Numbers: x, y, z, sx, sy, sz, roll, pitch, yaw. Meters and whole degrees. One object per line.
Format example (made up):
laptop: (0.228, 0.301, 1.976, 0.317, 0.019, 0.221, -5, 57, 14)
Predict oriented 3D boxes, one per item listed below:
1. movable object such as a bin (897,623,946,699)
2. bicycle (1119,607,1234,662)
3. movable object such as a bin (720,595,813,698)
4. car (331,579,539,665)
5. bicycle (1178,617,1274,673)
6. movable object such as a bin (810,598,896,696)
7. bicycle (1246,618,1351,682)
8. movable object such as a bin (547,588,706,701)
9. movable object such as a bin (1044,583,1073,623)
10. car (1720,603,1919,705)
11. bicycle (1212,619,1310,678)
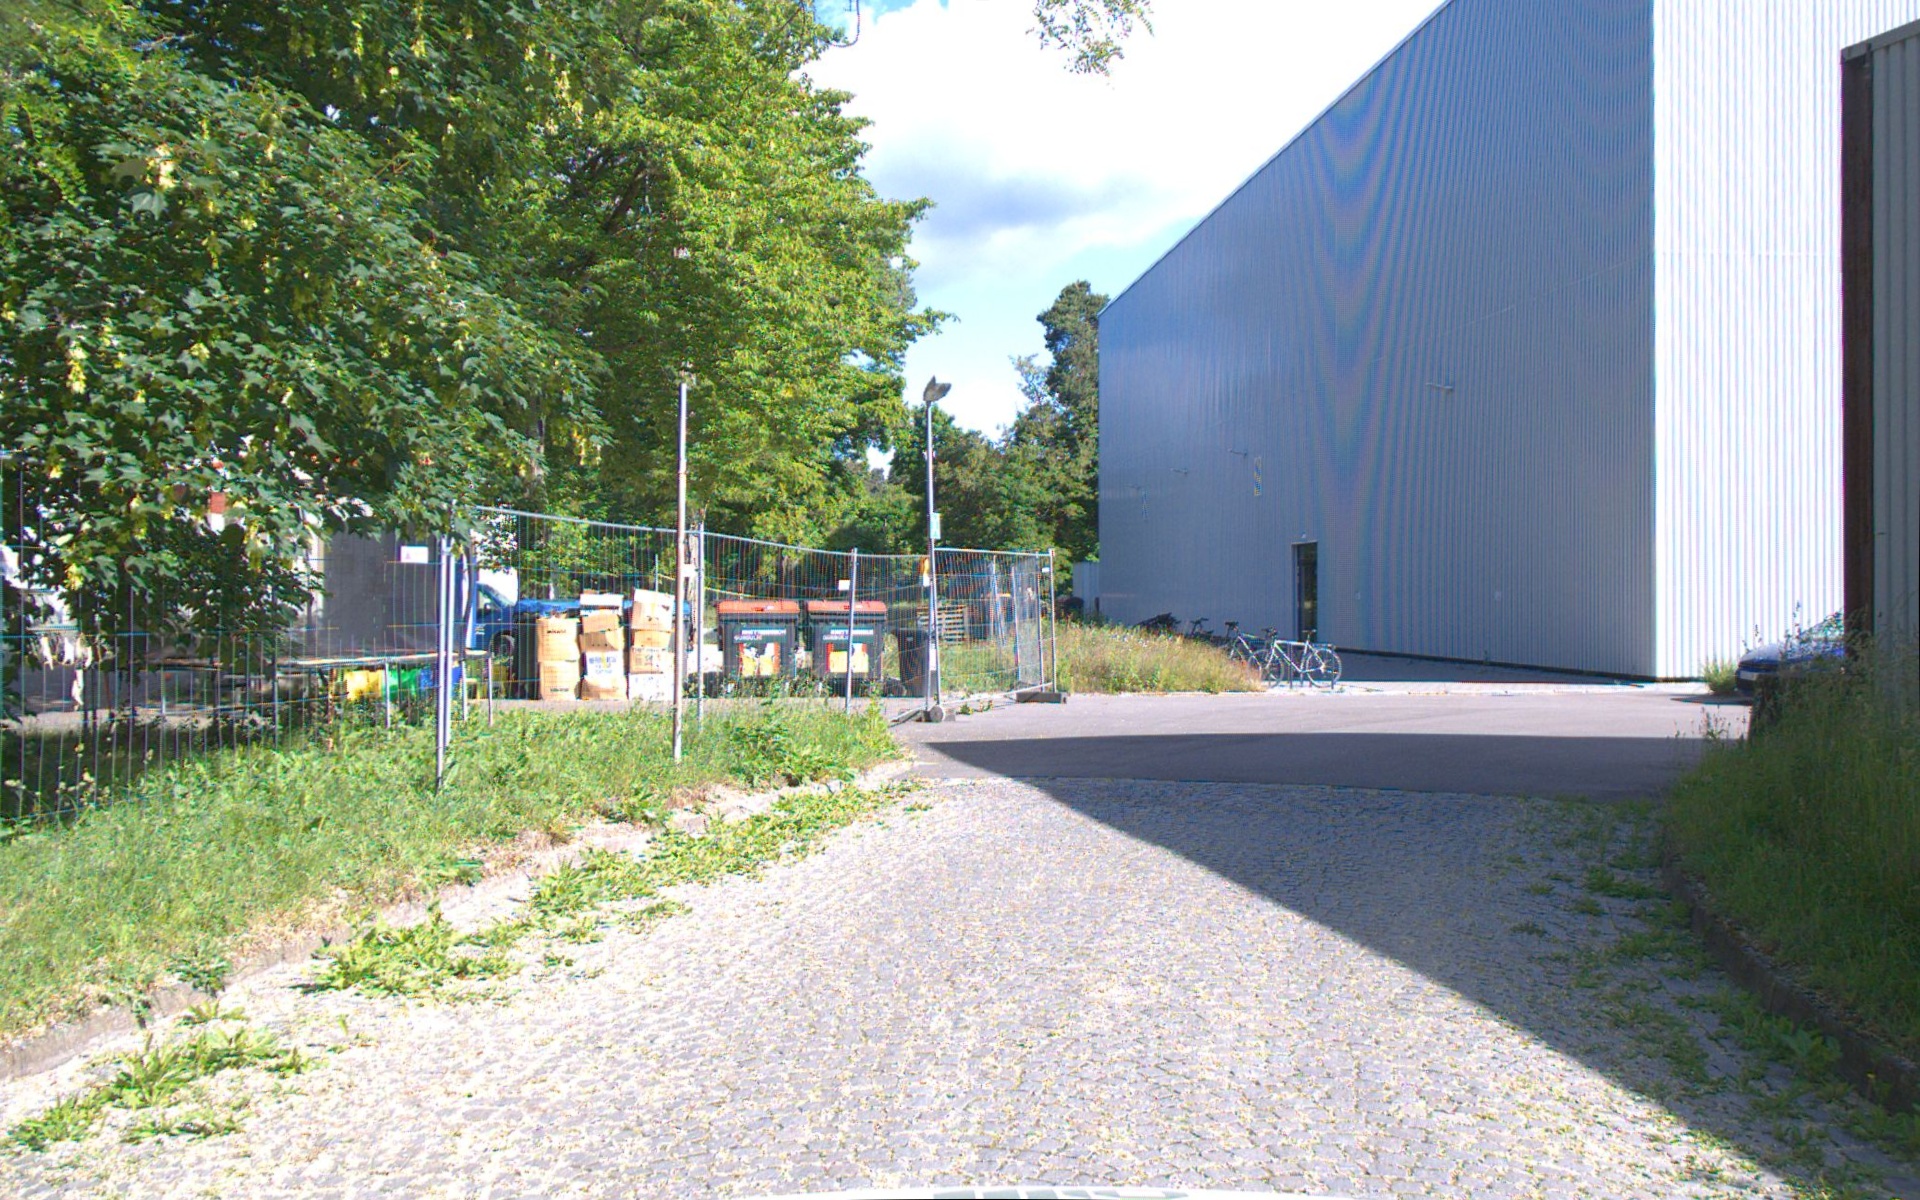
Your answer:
movable object such as a bin: (-0.587, 0.923, 25.140, 0.721, 1.117, 0.819, 0, 0, -3)
bicycle: (5.158, 0.812, 39.568, 2.577, 1.288, 1.140, 0, 0, -3)
movable object such as a bin: (-2.930, 0.682, 24.953, 1.314, 1.510, 0.804, 0, 0, -13)
car: (-12.828, 0.529, 40.701, 4.626, 1.935, 1.995, -2, -1, -11)
bicycle: (5.456, 0.919, 33.947, 1.852, 1.114, 0.525, 0, -1, -8)
movable object such as a bin: (-1.631, 0.703, 25.149, 1.223, 1.470, 0.700, 0, 0, -12)
bicycle: (5.900, 0.869, 28.847, 1.767, 1.080, 0.458, 0, 0, -12)
movable object such as a bin: (-4.914, 0.633, 24.412, 2.248, 1.619, 1.171, 0, 0, -13)
movable object such as a bin: (5.083, 0.155, 85.804, 1.390, 2.049, 1.125, 0, 0, -2)
car: (13.458, 0.755, 24.324, 3.866, 1.373, 1.671, 0, 1, -8)
bicycle: (5.712, 0.915, 31.410, 1.757, 1.101, 0.524, 0, 0, -5)
